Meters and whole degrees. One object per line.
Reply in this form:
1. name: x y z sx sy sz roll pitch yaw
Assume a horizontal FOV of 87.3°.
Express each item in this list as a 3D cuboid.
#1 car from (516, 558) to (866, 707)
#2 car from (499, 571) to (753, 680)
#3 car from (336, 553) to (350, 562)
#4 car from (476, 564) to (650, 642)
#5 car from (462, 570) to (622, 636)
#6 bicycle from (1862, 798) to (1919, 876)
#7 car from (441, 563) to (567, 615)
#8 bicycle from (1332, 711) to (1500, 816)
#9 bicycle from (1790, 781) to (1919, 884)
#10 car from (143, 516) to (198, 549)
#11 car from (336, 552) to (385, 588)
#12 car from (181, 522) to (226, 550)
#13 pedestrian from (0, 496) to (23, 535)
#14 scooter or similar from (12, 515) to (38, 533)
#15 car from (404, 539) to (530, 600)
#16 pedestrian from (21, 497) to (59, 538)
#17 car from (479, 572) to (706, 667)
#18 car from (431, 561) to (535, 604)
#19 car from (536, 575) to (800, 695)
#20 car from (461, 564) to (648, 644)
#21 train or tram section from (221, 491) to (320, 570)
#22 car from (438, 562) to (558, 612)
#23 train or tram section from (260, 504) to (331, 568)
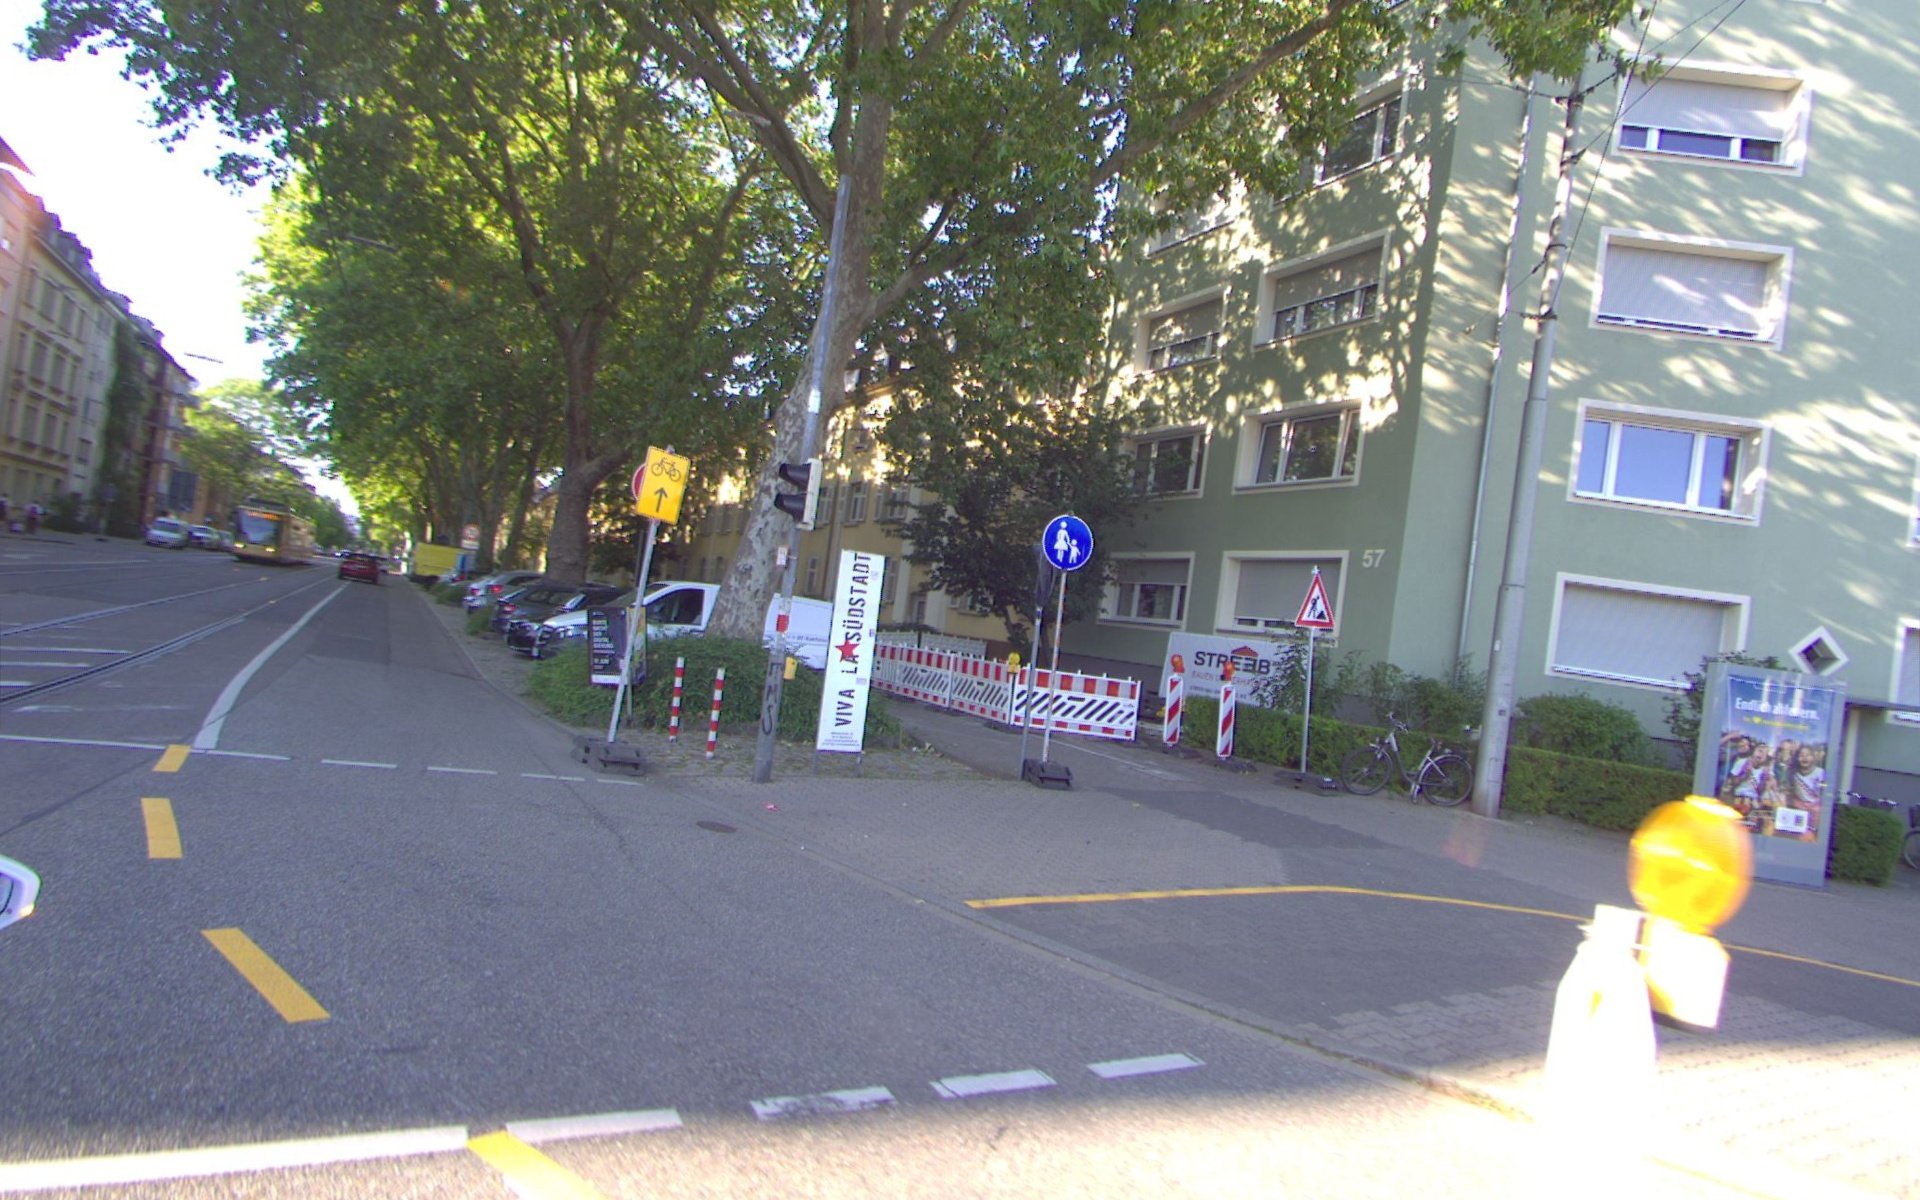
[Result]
1. car: -4.381 0.597 16.727 5.182 1.847 1.916 8 -2 -31
2. car: -6.989 0.557 21.195 4.677 1.620 1.906 9 -2 -30
3. car: -119.312 -8.210 194.610 1.982 1.527 3.964 9 -2 -34
4. car: -12.374 0.103 31.405 4.679 1.742 1.905 9 -2 -30
5. car: -14.142 0.101 34.102 4.679 1.551 1.905 9 -2 -30
6. bicycle: 14.685 3.655 15.056 0.634 1.014 1.849 8 -2 2
7. car: -19.872 -0.460 43.925 4.683 1.551 1.904 9 -2 -33
8. bicycle: 6.134 2.187 13.615 1.897 1.069 0.522 7 -1 14
9. bicycle: 12.499 3.194 14.002 0.511 1.069 1.937 7 -2 12
10. car: -47.858 -4.068 61.086 1.880 1.582 4.359 9 -2 -30
11. car: -30.700 -1.517 51.629 1.879 1.582 4.362 7 -2 -29
12. car: -52.841 -4.425 70.334 1.880 1.582 4.359 9 -2 -30
13. pedestrian: -42.340 -3.759 44.516 0.885 1.643 1.027 8 -1 -30
14. scooter or similar: -41.484 -3.360 44.658 0.620 0.656 0.760 9 -2 -29
15. car: -27.010 -1.622 55.208 5.902 2.393 2.046 9 -2 -29
16. pedestrian: -41.625 -3.717 45.547 0.885 1.643 1.027 8 -1 -30
17. car: -8.522 0.470 23.447 4.557 1.523 1.904 9 -2 -32
18. car: -25.260 -0.922 53.329 4.682 1.551 1.904 9 -2 -32
19. car: -5.525 0.681 19.125 4.375 1.620 1.928 9 -2 -29
20. car: -11.666 0.121 29.010 4.677 1.620 1.906 9 -2 -30
21. train or tram section: -40.138 -3.869 59.032 2.838 3.680 13.109 8 -2 -28
22. car: -21.200 -0.572 46.203 4.684 1.551 1.903 9 -2 -33
23. train or tram section: -46.275 -4.361 70.386 2.811 3.680 12.723 8 -2 -29
